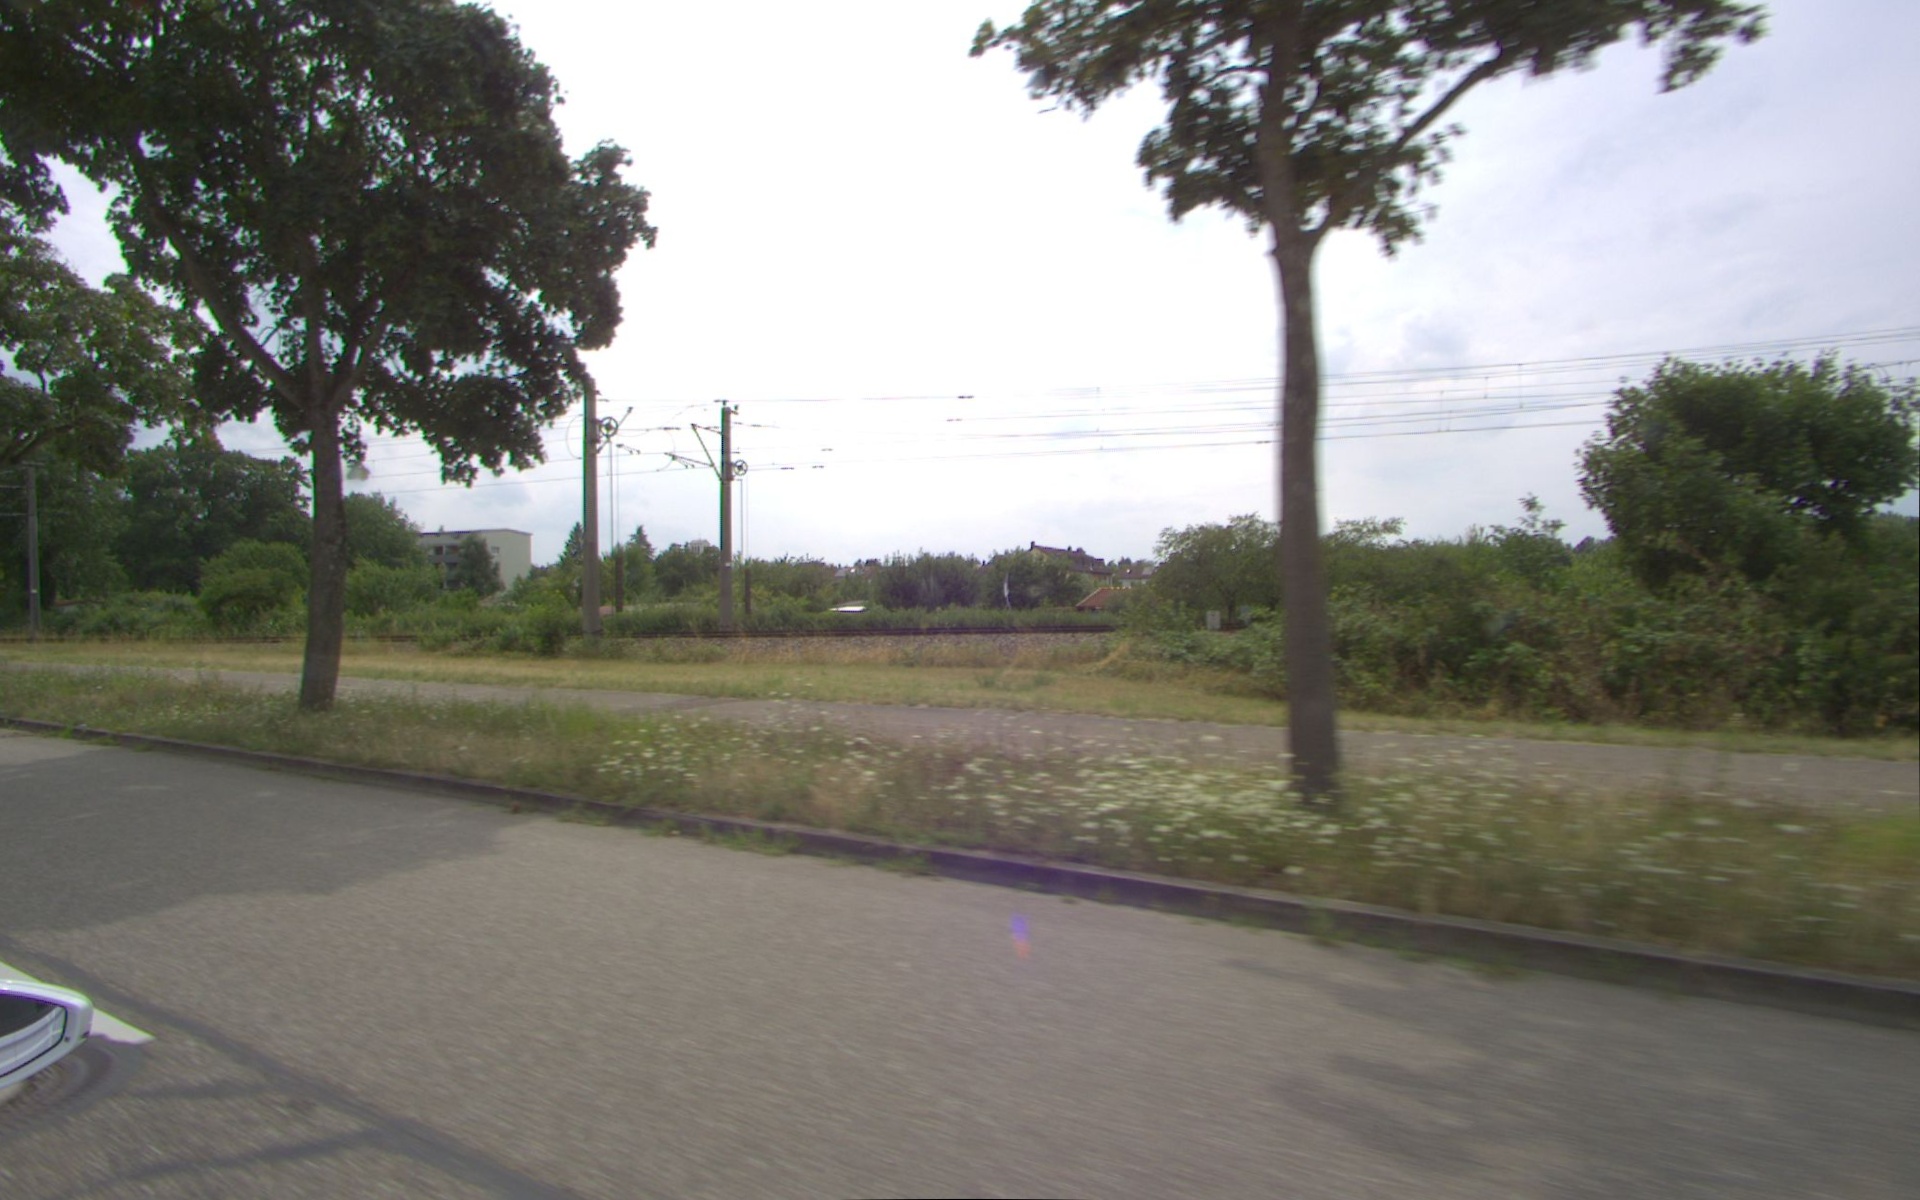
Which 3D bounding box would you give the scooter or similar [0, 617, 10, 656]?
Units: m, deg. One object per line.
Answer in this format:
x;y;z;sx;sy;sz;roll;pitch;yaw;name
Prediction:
-28.421;1.066;29.275;0.919;1.145;0.681;1;1;27;scooter or similar
